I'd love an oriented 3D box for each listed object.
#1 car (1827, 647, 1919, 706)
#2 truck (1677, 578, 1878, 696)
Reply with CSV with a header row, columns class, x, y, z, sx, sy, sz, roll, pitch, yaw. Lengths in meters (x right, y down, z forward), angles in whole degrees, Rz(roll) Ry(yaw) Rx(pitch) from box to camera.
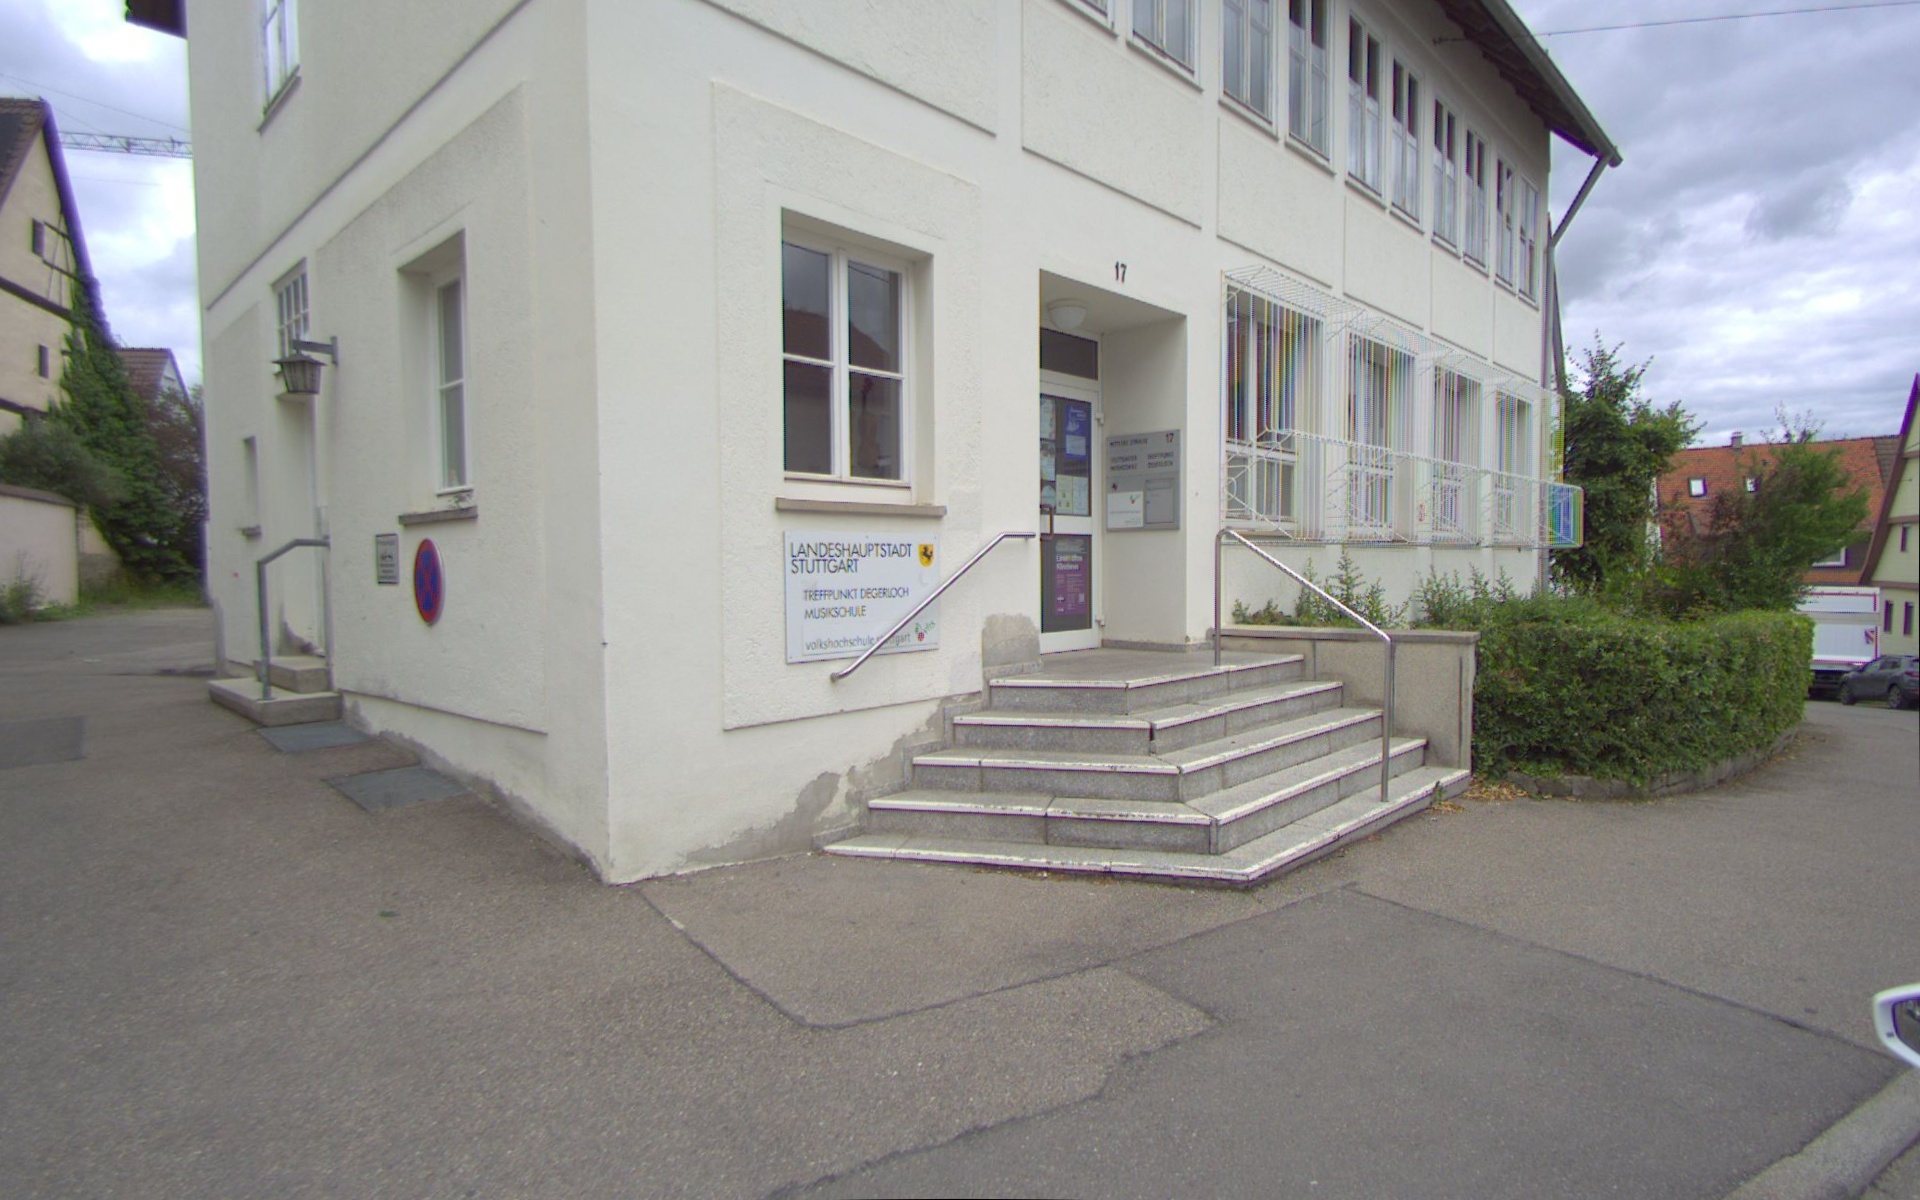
class,x,y,z,sx,sy,sz,roll,pitch,yaw
car,26.474,2.161,28.260,1.704,1.526,4.053,2,-2,18
truck,28.589,1.320,35.653,2.631,3.644,8.110,1,-2,17
